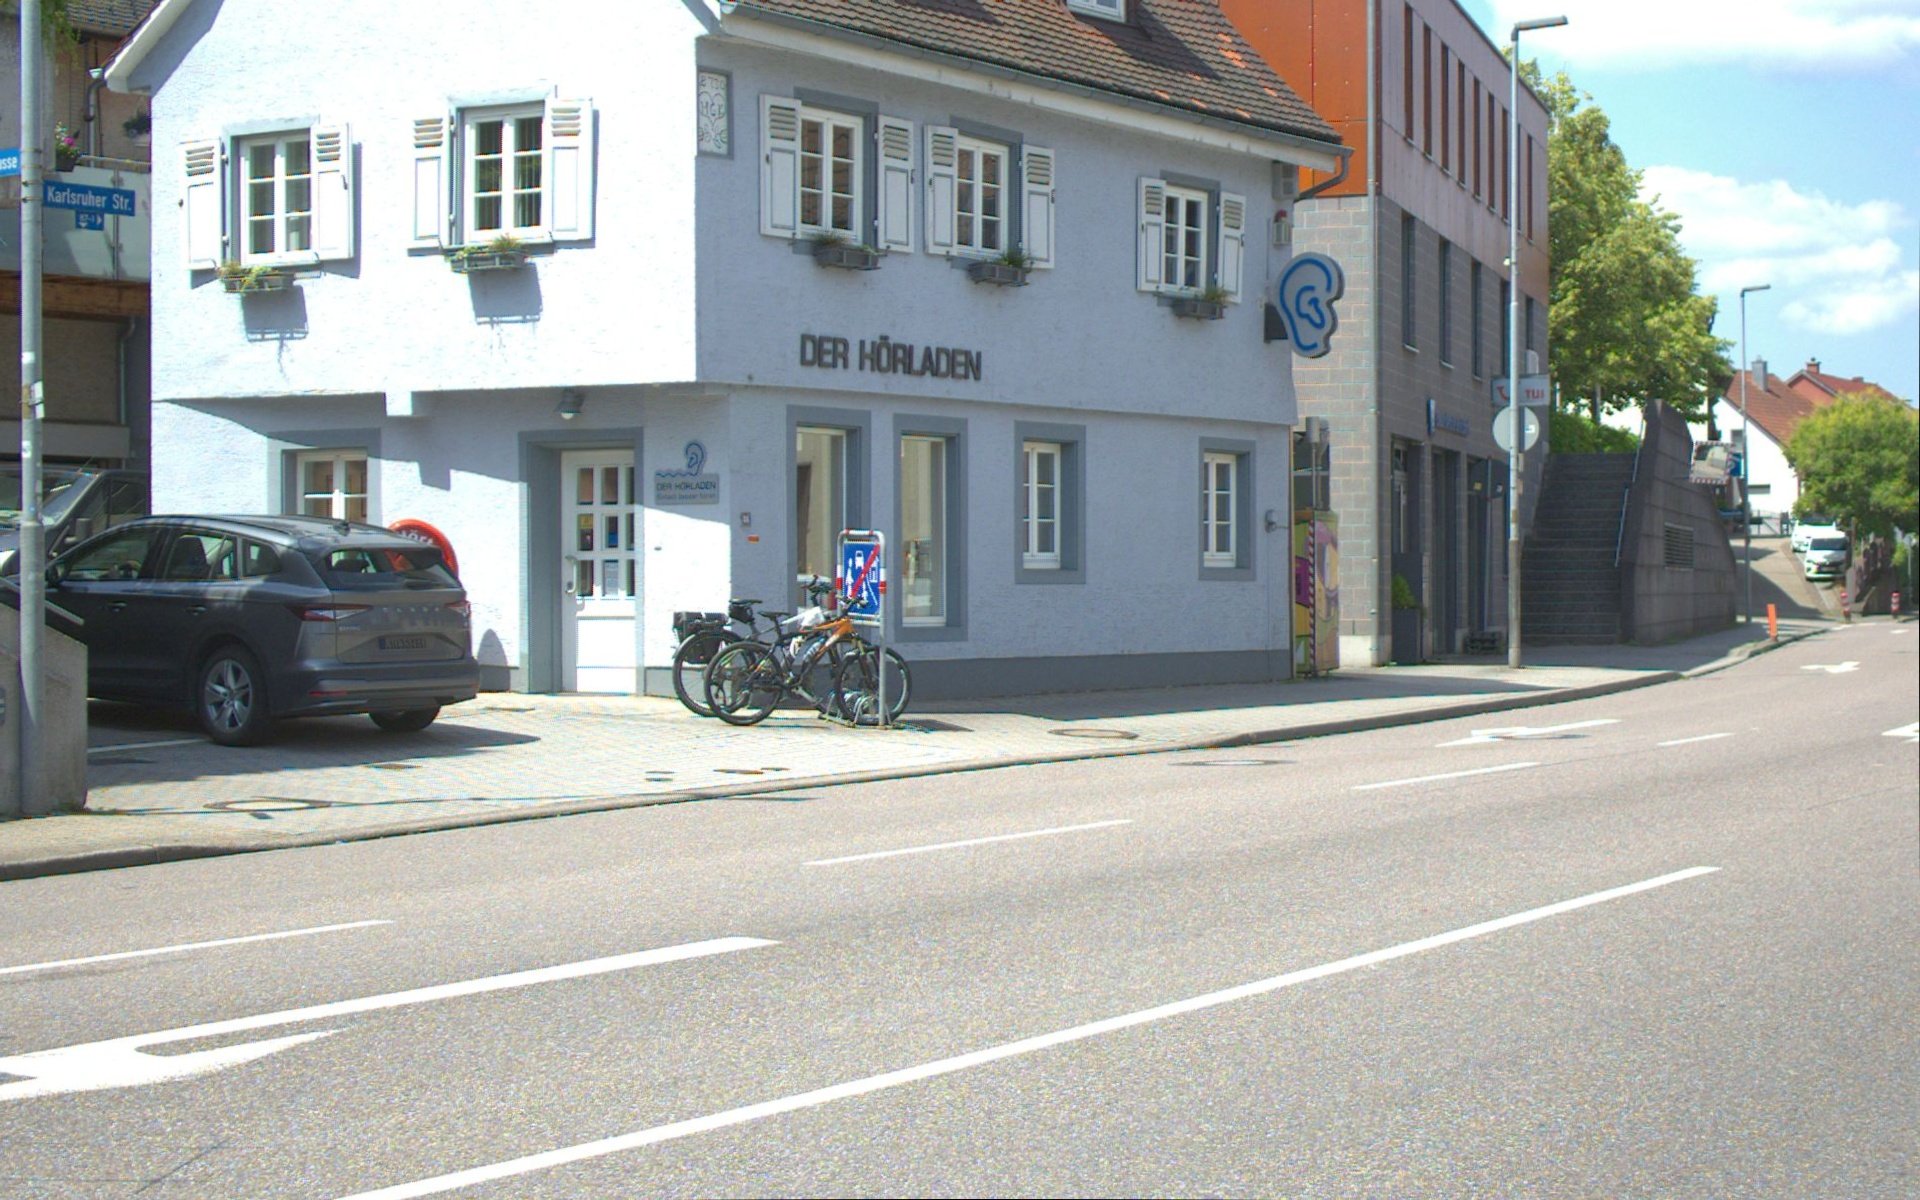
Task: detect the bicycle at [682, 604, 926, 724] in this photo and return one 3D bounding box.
[{"bbox_3d":[-1.242,0.512,27.432,1.816,0.896,0.623,2,1,-22],"label":"bicycle"}]

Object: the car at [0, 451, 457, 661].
[{"bbox_3d":[-8.373,-0.420,35.697,2.522,2.007,5.981,-1,0,42],"label":"car"}]

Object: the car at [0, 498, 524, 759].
[{"bbox_3d":[-5.521,0.139,25.807,4.321,1.576,1.951,4,5,37],"label":"car"}]

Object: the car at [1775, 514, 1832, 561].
[{"bbox_3d":[32.474,-2.386,132.268,1.995,1.711,3.997,2,1,15],"label":"car"}]

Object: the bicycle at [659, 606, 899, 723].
[{"bbox_3d":[-1.477,0.529,28.055,1.816,0.896,0.649,2,1,-22],"label":"bicycle"}]
